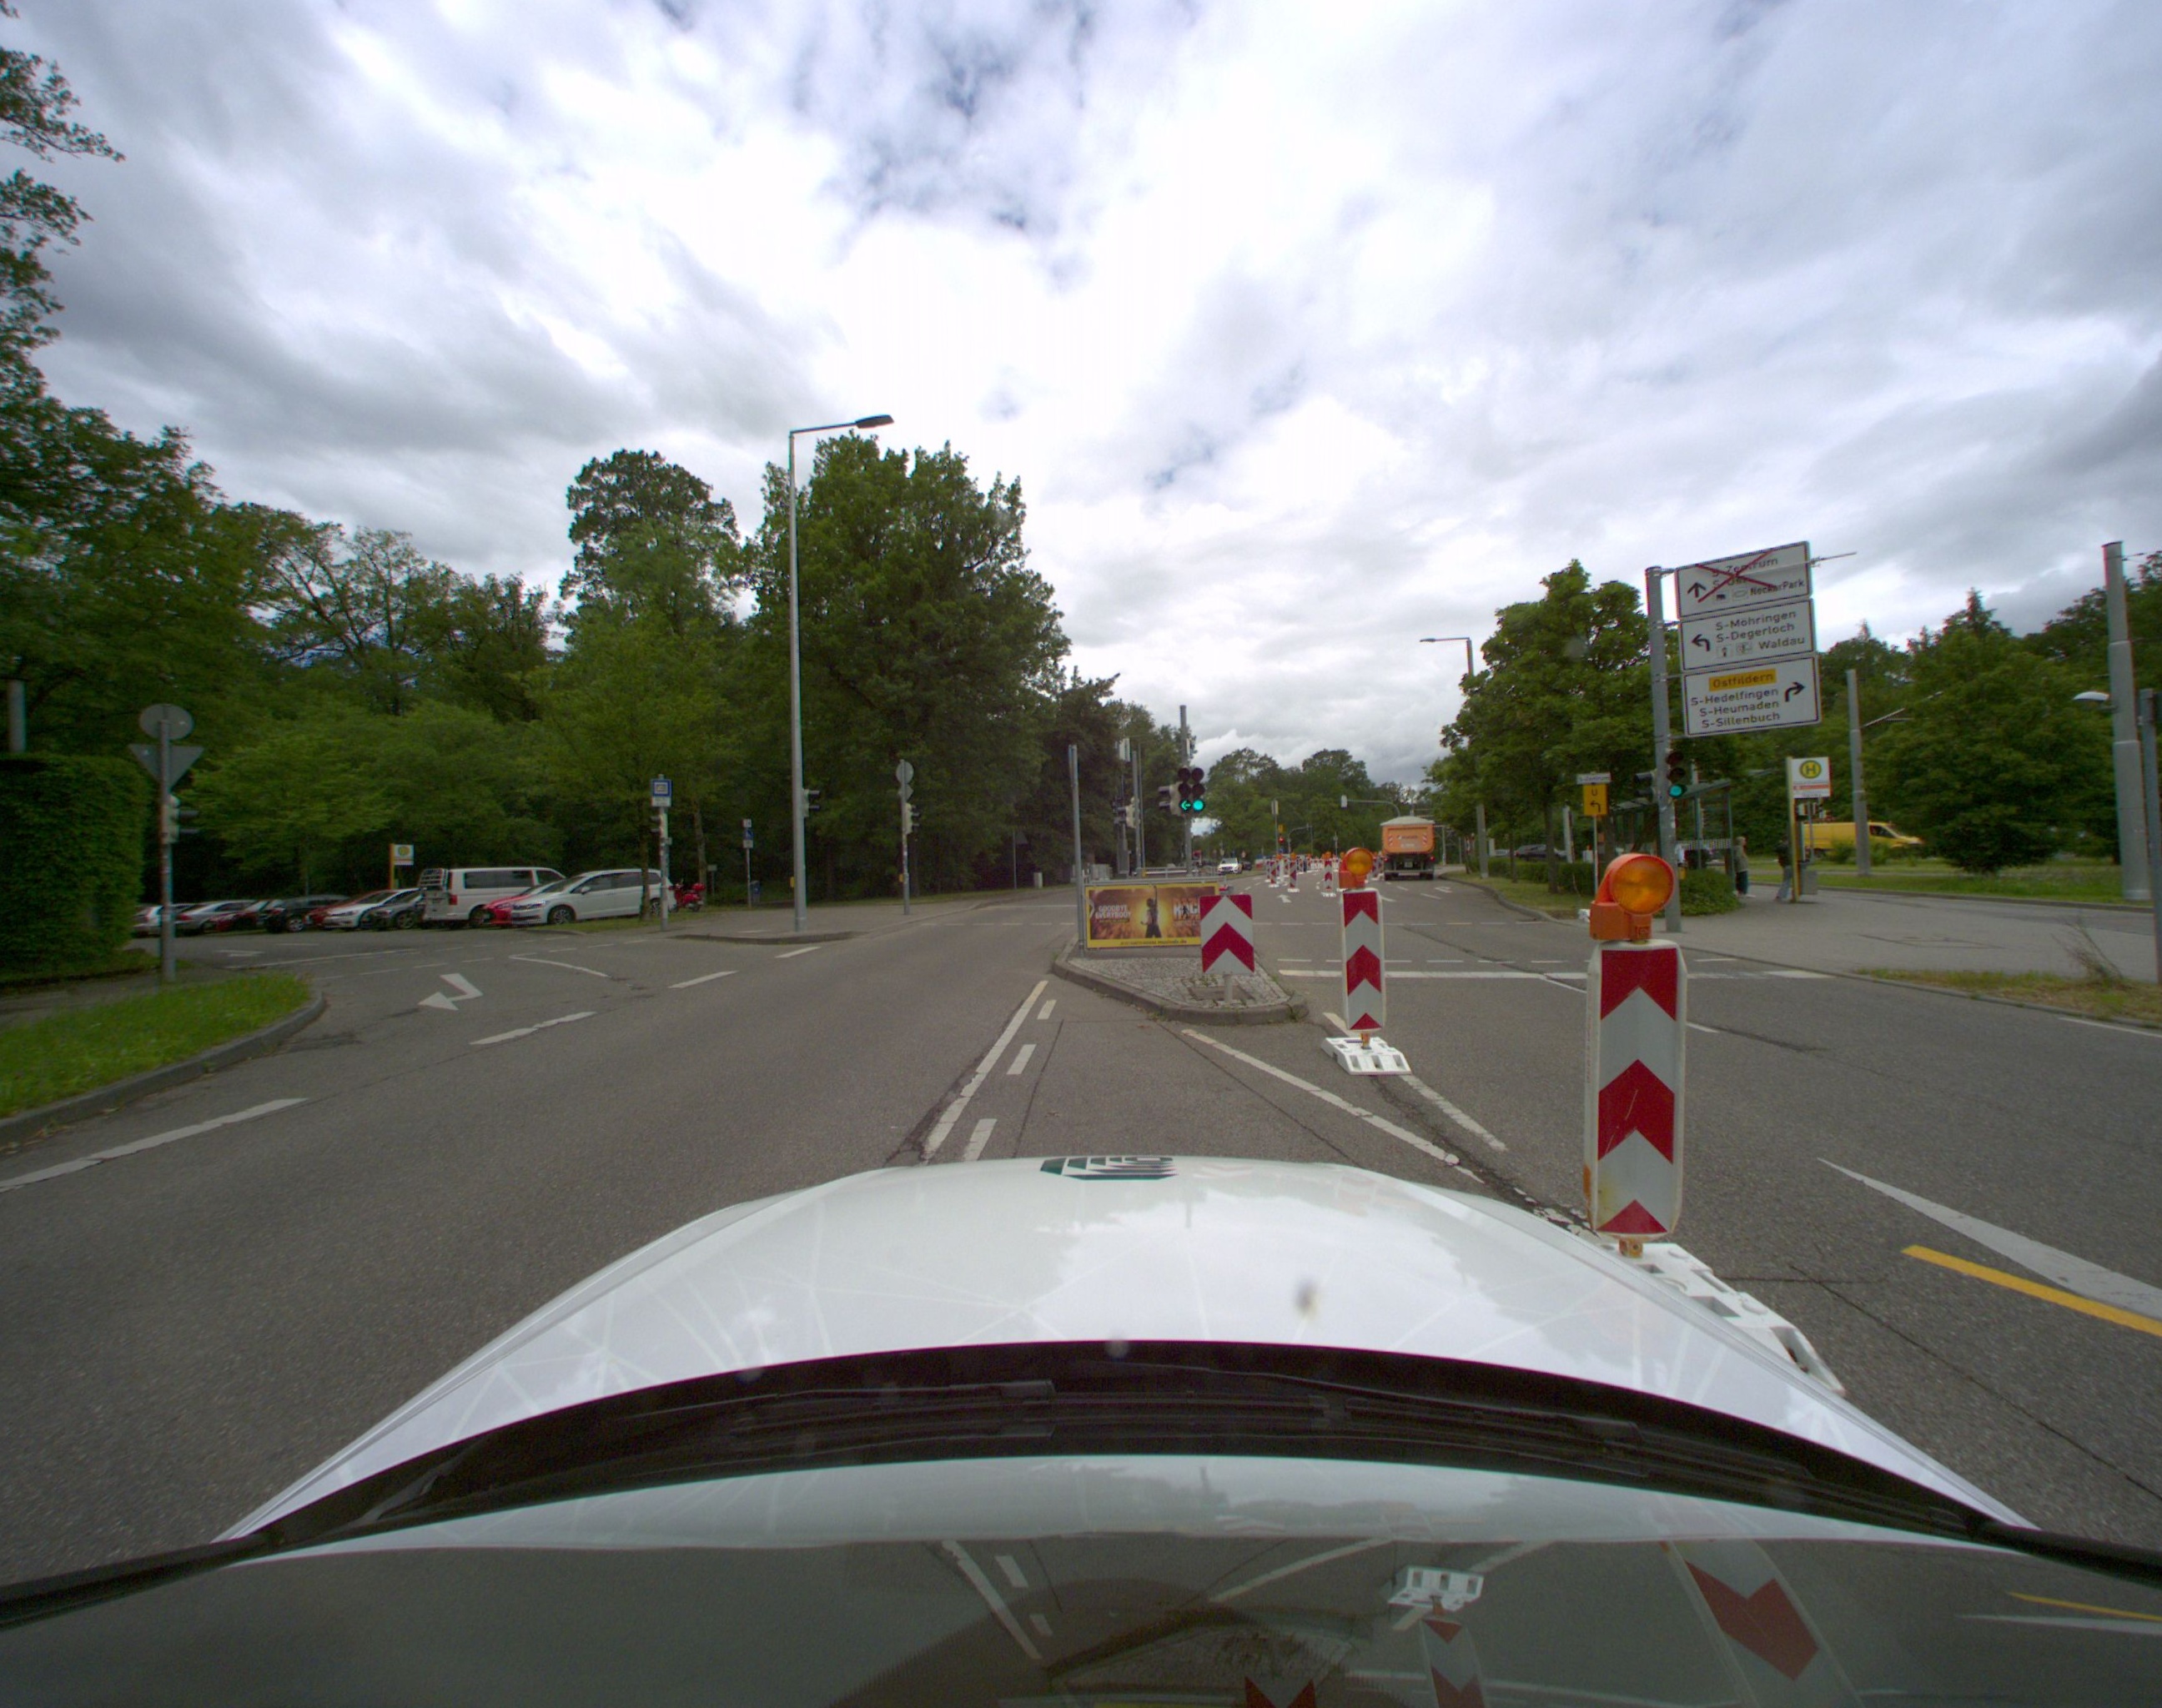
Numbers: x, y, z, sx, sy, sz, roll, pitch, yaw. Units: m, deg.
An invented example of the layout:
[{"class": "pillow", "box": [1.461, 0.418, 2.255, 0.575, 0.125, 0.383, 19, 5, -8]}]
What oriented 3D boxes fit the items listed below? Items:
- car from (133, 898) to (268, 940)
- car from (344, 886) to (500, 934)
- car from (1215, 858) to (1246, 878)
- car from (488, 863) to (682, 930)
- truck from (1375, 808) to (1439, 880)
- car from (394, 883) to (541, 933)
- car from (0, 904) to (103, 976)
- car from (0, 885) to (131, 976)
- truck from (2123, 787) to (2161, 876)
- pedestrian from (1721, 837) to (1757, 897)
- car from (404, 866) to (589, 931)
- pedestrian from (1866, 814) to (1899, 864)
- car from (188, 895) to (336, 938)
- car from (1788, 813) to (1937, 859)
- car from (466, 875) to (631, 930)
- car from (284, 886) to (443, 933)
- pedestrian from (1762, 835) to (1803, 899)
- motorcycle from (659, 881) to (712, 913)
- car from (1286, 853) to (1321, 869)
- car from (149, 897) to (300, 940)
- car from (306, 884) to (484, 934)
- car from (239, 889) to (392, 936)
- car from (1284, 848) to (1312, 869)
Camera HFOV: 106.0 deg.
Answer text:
[{"class": "car", "box": [-39.982, 2.915, 37.084, 1.730, 1.510, 3.734, -4, -1, 21]}, {"class": "car", "box": [-24.051, 2.001, 29.875, 1.853, 1.483, 4.024, -5, -3, 27]}, {"class": "car", "box": [13.724, 1.292, 74.472, 1.976, 1.750, 4.602, -1, -1, 21]}, {"class": "car", "box": [-15.179, 1.255, 25.159, 2.137, 1.693, 4.564, -4, -1, 34]}, {"class": "truck", "box": [18.062, -0.535, 44.857, 2.833, 3.514, 8.294, -3, 0, 23]}, {"class": "car", "box": [-21.840, 1.872, 29.158, 1.823, 1.555, 3.757, -1, -1, 27]}, {"class": "car", "box": [-23.389, 1.875, 16.682, 1.700, 1.379, 4.025, -3, -1, 29]}, {"class": "car", "box": [-25.644, 1.865, 18.375, 1.953, 1.915, 5.135, -4, 0, 30]}, {"class": "truck", "box": [30.664, -0.651, 19.567, 2.406, 2.352, 6.502, 0, -1, -19]}, {"class": "pedestrian", "box": [17.015, 0.331, 21.076, 0.520, 1.517, 0.479, -1, -1, -1]}, {"class": "car", "box": [-19.728, 1.428, 27.737, 2.057, 2.021, 4.692, -2, -2, 29]}, {"class": "pedestrian", "box": [37.637, -0.704, 38.234, 0.615, 2.295, 0.859, 0, -1, -12]}, {"class": "car", "box": [-35.335, 2.658, 35.269, 1.918, 1.449, 4.021, -4, 0, 21]}, {"class": "car", "box": [46.799, -1.005, 48.966, 2.005, 2.494, 6.090, 0, -1, -29]}, {"class": "car", "box": [-17.222, 1.518, 26.496, 1.921, 1.555, 4.036, -3, -2, 35]}, {"class": "car", "box": [-28.382, 2.162, 32.386, 1.895, 1.480, 4.267, -4, -1, 25]}, {"class": "pedestrian", "box": [16.813, 0.317, 19.521, 0.520, 1.517, 0.479, -1, -1, -1]}, {"class": "motorcycle", "box": [-15.627, 1.702, 32.176, 1.988, 1.160, 0.680, -2, -1, 22]}, {"class": "car", "box": [28.199, 0.908, 103.207, 2.006, 1.882, 3.962, 0, -1, -30]}, {"class": "car", "box": [-37.843, 2.814, 36.099, 1.842, 1.461, 4.163, -4, -1, 23]}, {"class": "car", "box": [-26.033, 2.045, 31.127, 1.829, 1.476, 4.817, -3, 0, 28]}, {"class": "car", "box": [-30.888, 2.336, 33.001, 1.898, 1.483, 4.024, -4, 0, 25]}, {"class": "car", "box": [19.116, 0.429, 71.668, 1.780, 1.738, 3.723, -1, -1, 24]}]
